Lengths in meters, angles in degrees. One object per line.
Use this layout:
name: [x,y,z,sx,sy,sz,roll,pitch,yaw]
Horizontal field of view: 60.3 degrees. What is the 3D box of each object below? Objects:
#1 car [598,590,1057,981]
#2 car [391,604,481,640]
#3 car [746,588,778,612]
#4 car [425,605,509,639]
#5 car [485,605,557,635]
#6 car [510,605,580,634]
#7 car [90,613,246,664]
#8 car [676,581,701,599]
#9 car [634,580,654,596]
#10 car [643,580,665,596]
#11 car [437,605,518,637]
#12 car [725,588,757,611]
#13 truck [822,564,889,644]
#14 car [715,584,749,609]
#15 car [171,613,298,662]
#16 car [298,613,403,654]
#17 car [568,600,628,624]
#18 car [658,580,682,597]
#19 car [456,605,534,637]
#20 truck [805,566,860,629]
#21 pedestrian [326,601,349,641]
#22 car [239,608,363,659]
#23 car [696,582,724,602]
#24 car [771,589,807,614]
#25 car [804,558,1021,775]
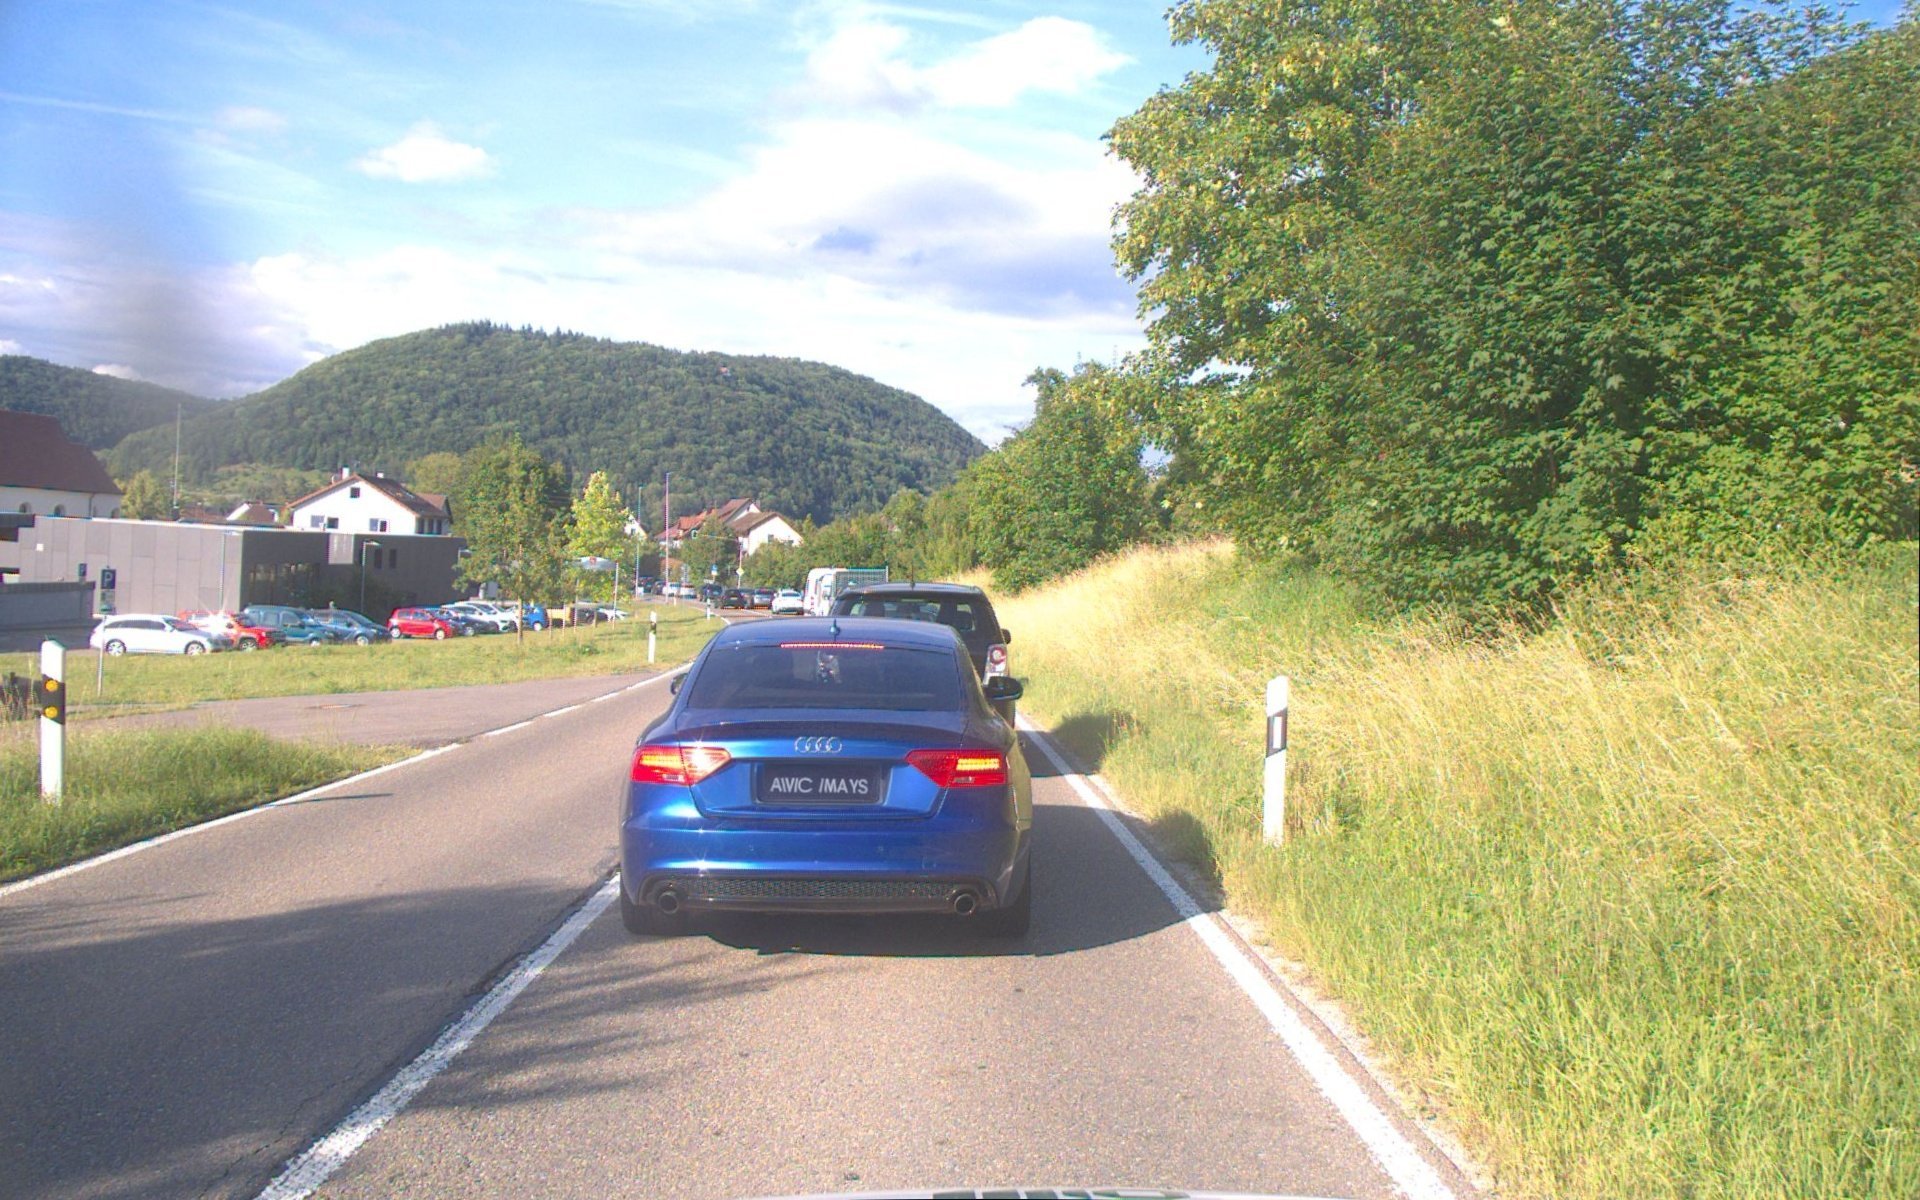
car: [-0.496,0.712,8.192,1.718,1.455,3.846,1,0,0]
car: [-26.470,1.124,83.621,3.907,1.741,1.999,1,0,-3]
car: [-14.475,-0.007,120.792,1.815,1.742,3.984,1,0,-15]
car: [-26.245,1.152,88.173,3.907,1.741,1.999,1,0,-3]
car: [-26.747,1.210,100.893,3.907,1.741,1.999,1,0,-3]
car: [-25.972,1.238,103.579,3.907,1.741,1.999,1,0,-3]
car: [-28.659,1.387,59.970,4.637,1.741,1.999,1,0,-3]
car: [-27.179,-1.009,165.436,1.817,1.742,3.978,1,0,-19]
car: [-36.523,-1.389,191.055,1.817,1.742,3.979,1,0,-19]
car: [-33.633,-1.326,181.629,1.817,1.742,3.979,1,0,-19]
car: [-26.769,1.162,91.822,3.907,1.741,1.999,1,0,-3]
car: [-17.422,-0.038,131.255,1.817,1.742,3.980,1,0,-18]
truck: [-3.592,0.150,58.014,2.185,2.615,6.100,1,0,-2]
car: [-16.496,-0.219,119.445,1.817,1.742,3.980,1,0,-17]
car: [-27.596,1.421,62.994,3.907,1.741,1.999,1,0,-3]
car: [-26.980,1.486,73.317,3.907,1.741,1.999,1,0,-3]
car: [-25.823,0.866,118.148,3.907,1.606,1.751,1,0,-3]
car: [-30.547,-1.228,174.120,1.817,1.742,3.979,1,0,-19]
car: [-26.718,1.180,95.107,3.907,1.741,1.999,1,0,-3]
truck: [-5.718,-0.086,73.406,2.187,2.615,6.698,1,0,-6]
pedestrian: [-32.467,1.096,86.301,0.808,2.049,0.973,1,-1,-1]
car: [-27.373,1.386,68.809,4.318,2.043,1.999,1,0,-3]
car: [-22.664,-0.693,149.894,1.818,1.742,3.978,1,0,-19]
car: [-10.690,0.118,103.261,1.813,1.508,3.988,1,0,-12]
car: [-0.379,0.542,15.204,1.718,1.710,3.846,1,0,0]
